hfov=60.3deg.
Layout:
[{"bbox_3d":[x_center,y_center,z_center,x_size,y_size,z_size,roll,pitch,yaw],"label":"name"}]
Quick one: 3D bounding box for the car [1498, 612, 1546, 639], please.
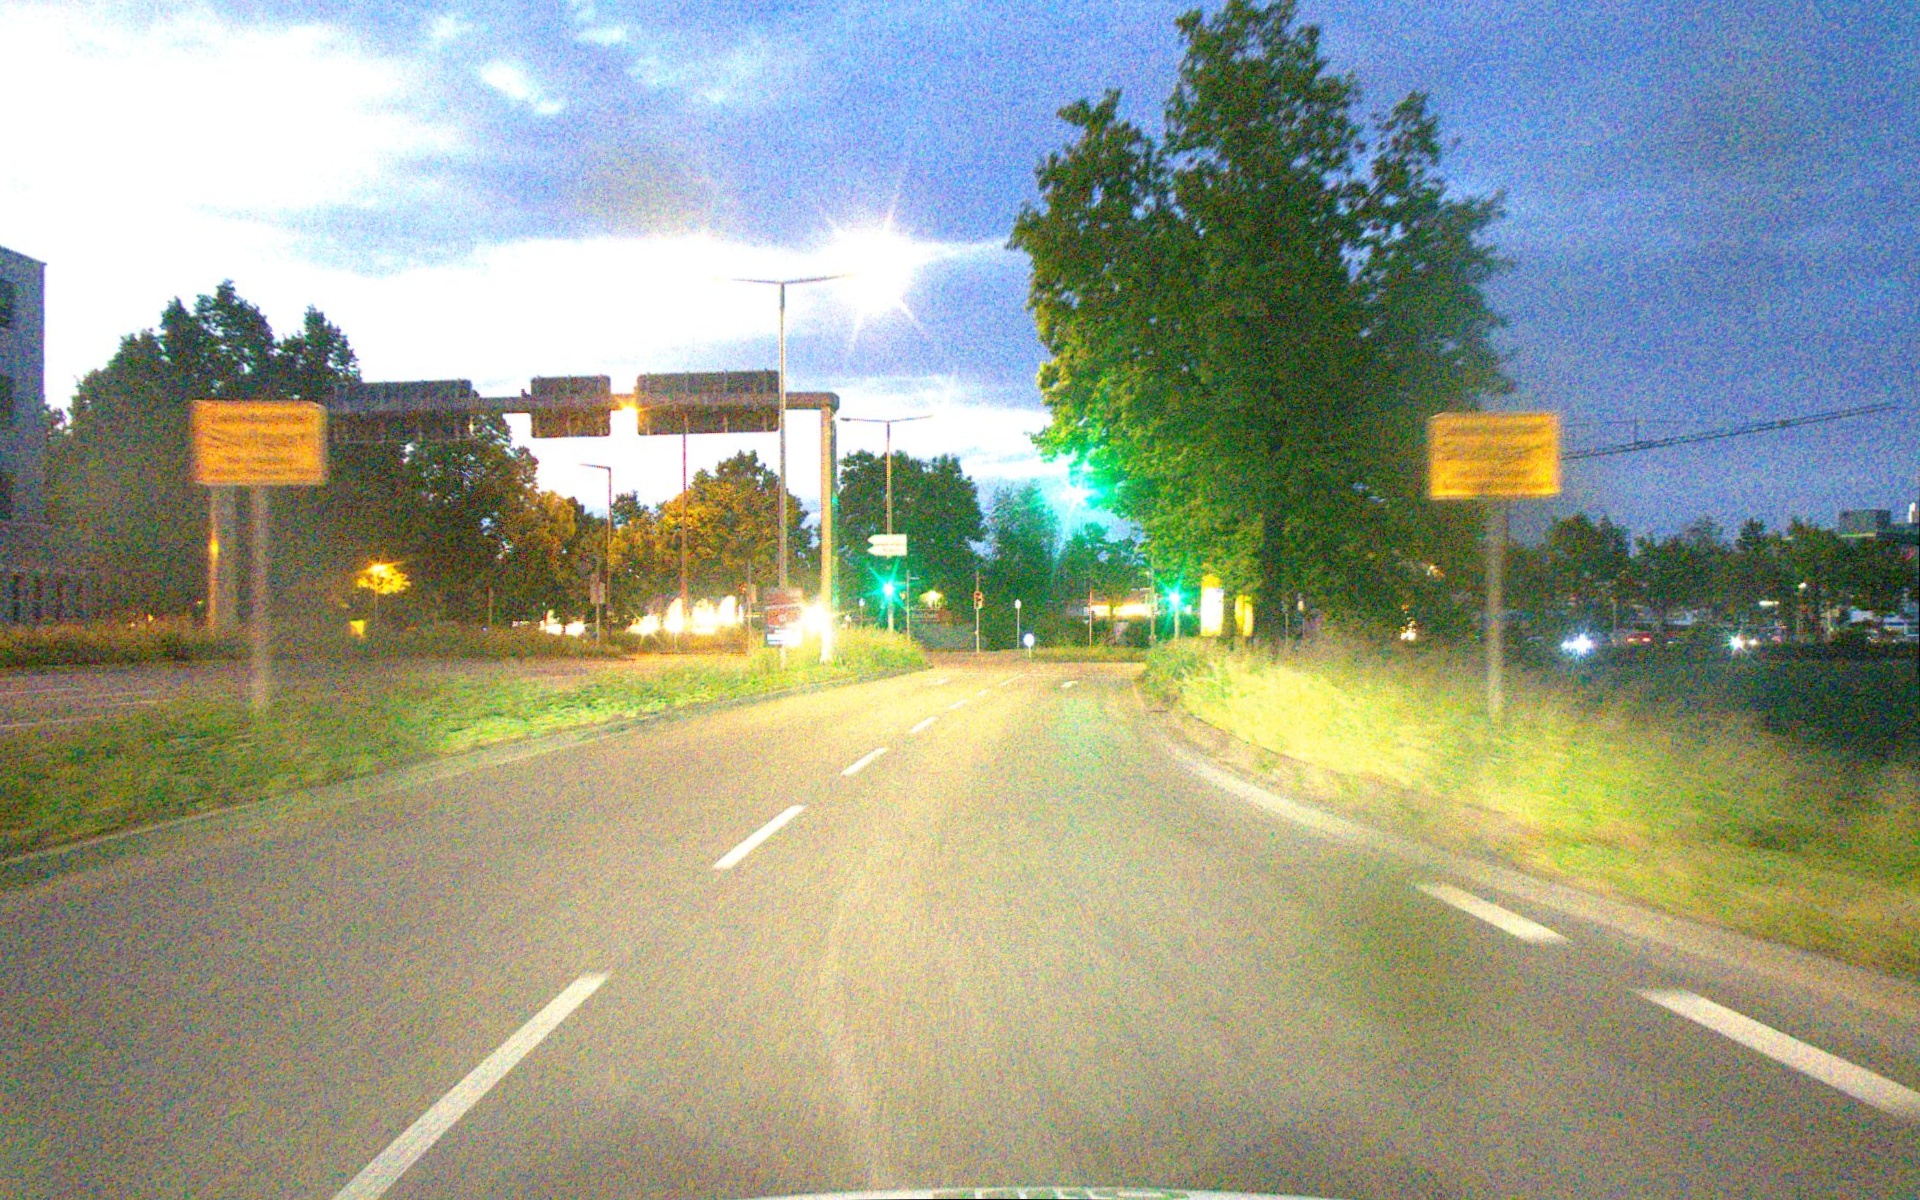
[{"bbox_3d":[46.656,2.118,137.291,3.960,2.048,1.973,-1,1,-39],"label":"car"}]
